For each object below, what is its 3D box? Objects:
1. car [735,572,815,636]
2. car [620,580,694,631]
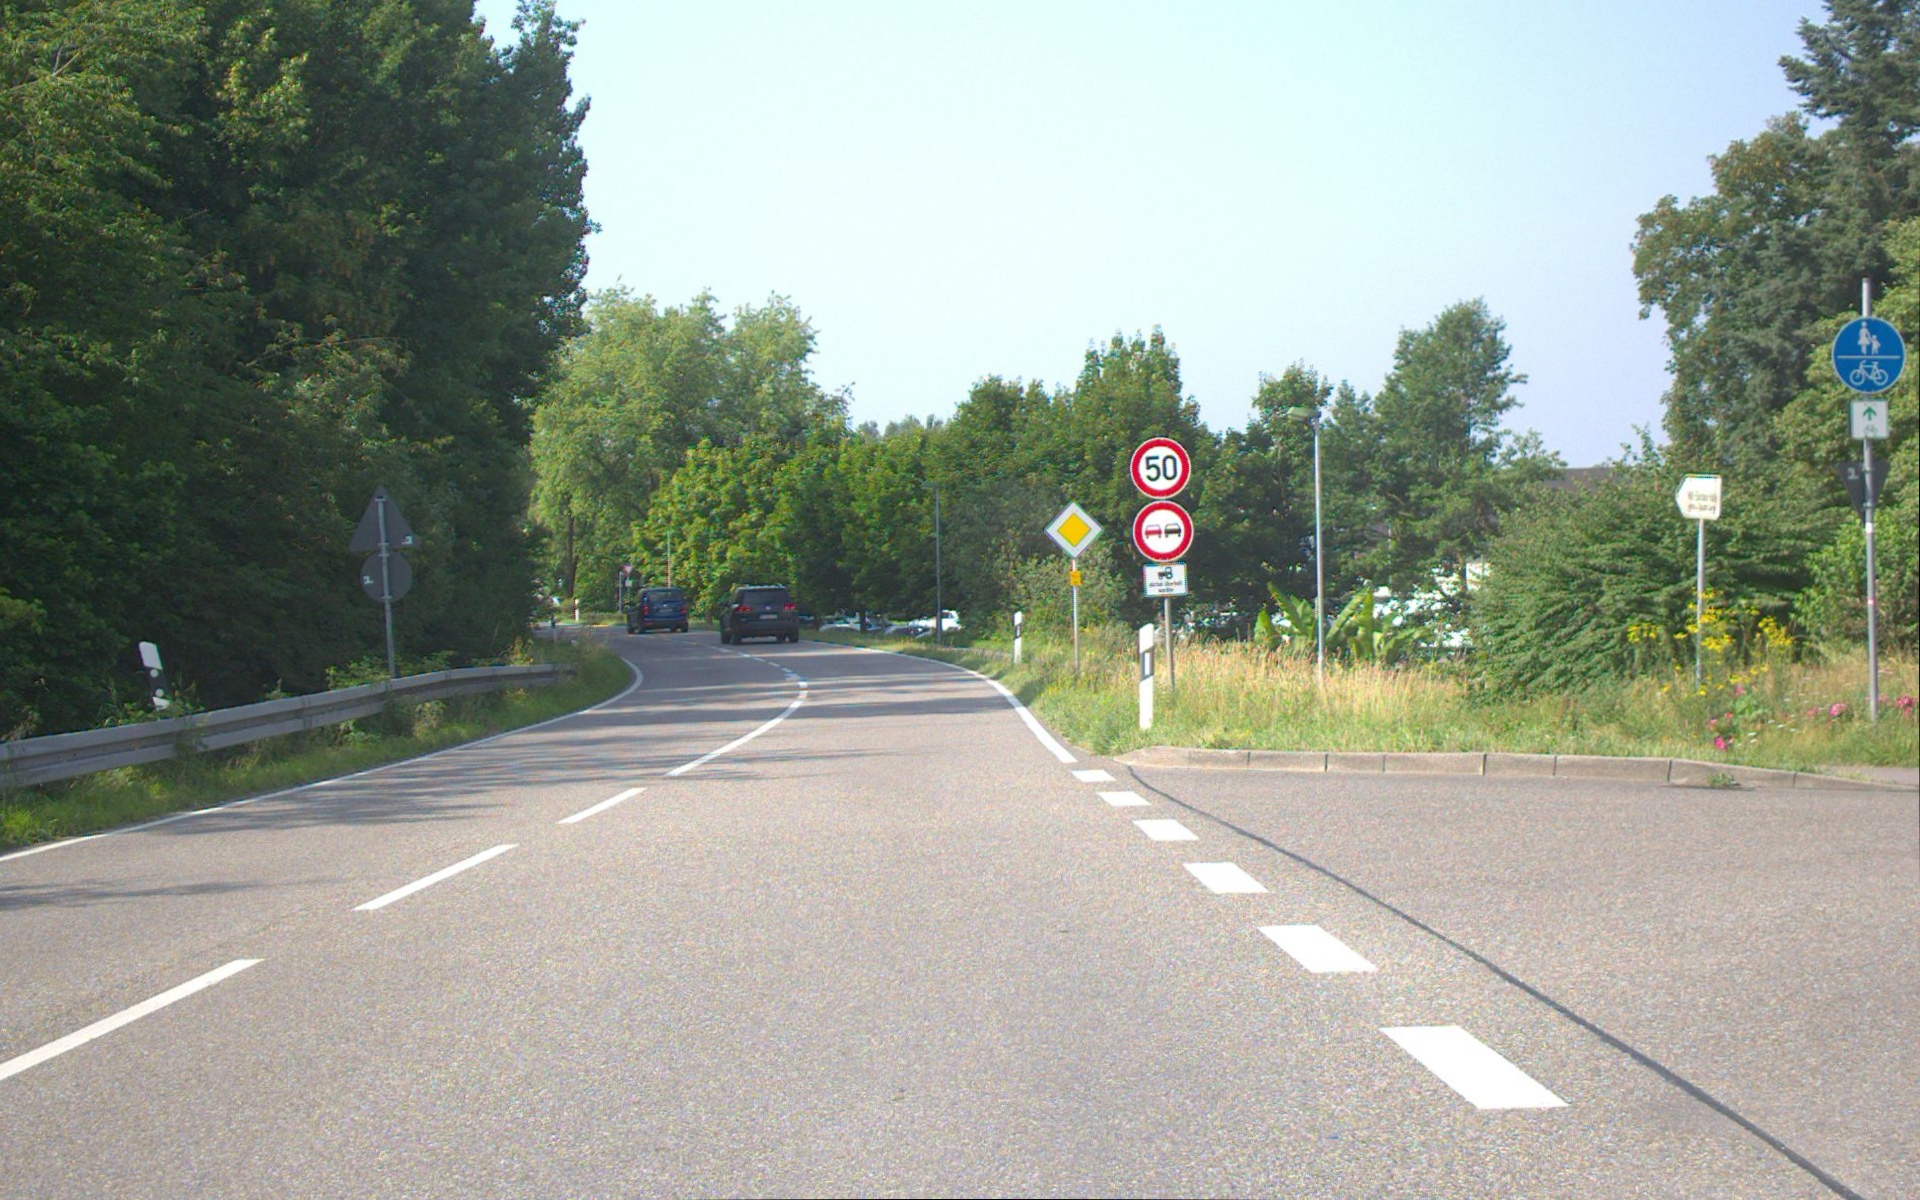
[{"bbox_3d":[-5.392,0.096,99.793,1.925,1.765,4.001,0,1,-9],"label":"car"},{"bbox_3d":[-10.921,0.183,123.602,2.003,1.765,4.001,0,1,-15],"label":"car"}]
